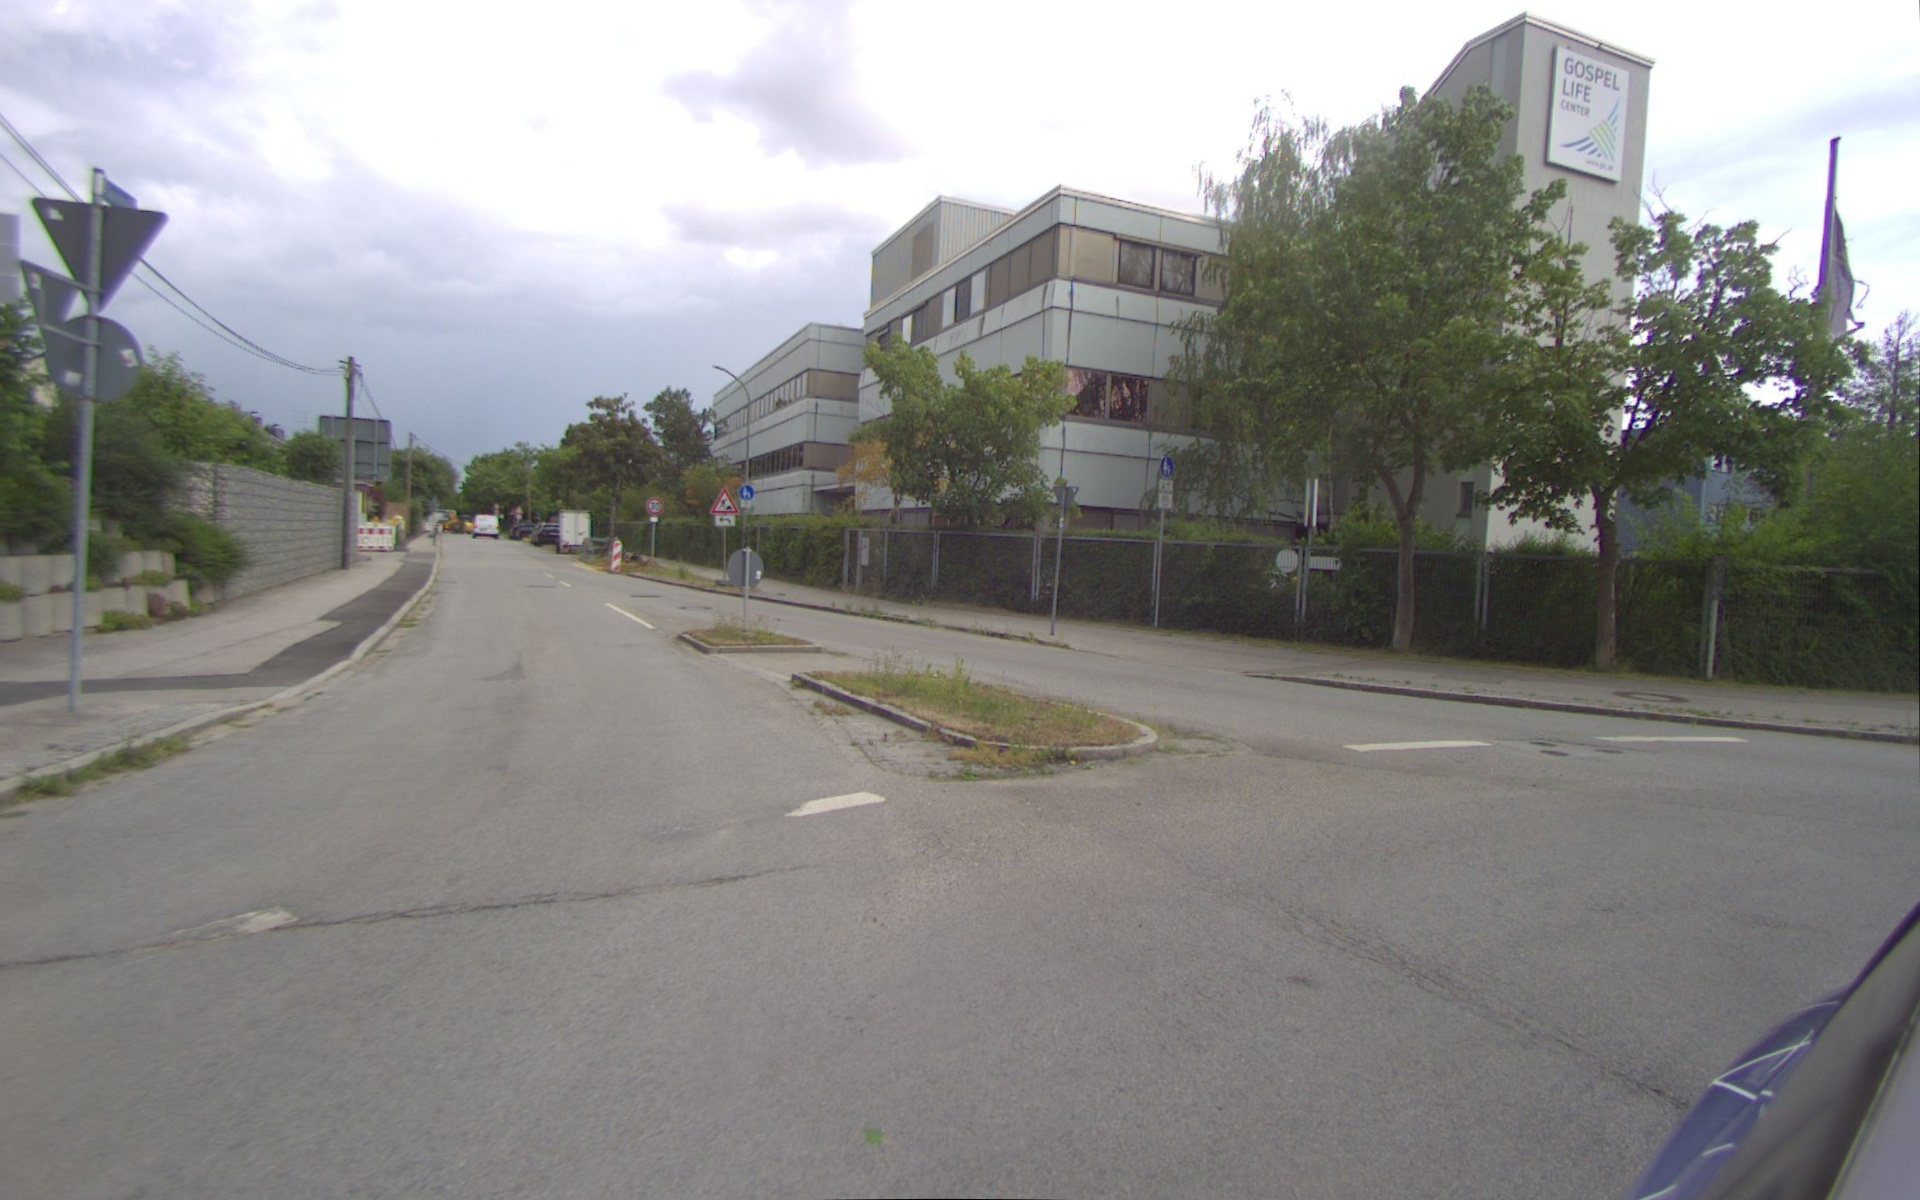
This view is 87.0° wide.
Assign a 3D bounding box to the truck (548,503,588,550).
[{"bbox_3d":[-22.202,-4.141,57.206,1.730,2.499,4.409,1,3,-25],"label":"truck"}]

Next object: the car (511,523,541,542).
[{"bbox_3d":[-36.893,-5.724,85.965,1.959,1.503,4.008,1,3,-28],"label":"car"}]

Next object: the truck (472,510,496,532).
[{"bbox_3d":[-40.056,-6.632,85.135,1.729,1.662,4.409,1,3,-25],"label":"truck"}]

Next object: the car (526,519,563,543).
[{"bbox_3d":[-28.341,-4.722,69.002,1.959,1.503,4.008,1,3,-28],"label":"car"}]
